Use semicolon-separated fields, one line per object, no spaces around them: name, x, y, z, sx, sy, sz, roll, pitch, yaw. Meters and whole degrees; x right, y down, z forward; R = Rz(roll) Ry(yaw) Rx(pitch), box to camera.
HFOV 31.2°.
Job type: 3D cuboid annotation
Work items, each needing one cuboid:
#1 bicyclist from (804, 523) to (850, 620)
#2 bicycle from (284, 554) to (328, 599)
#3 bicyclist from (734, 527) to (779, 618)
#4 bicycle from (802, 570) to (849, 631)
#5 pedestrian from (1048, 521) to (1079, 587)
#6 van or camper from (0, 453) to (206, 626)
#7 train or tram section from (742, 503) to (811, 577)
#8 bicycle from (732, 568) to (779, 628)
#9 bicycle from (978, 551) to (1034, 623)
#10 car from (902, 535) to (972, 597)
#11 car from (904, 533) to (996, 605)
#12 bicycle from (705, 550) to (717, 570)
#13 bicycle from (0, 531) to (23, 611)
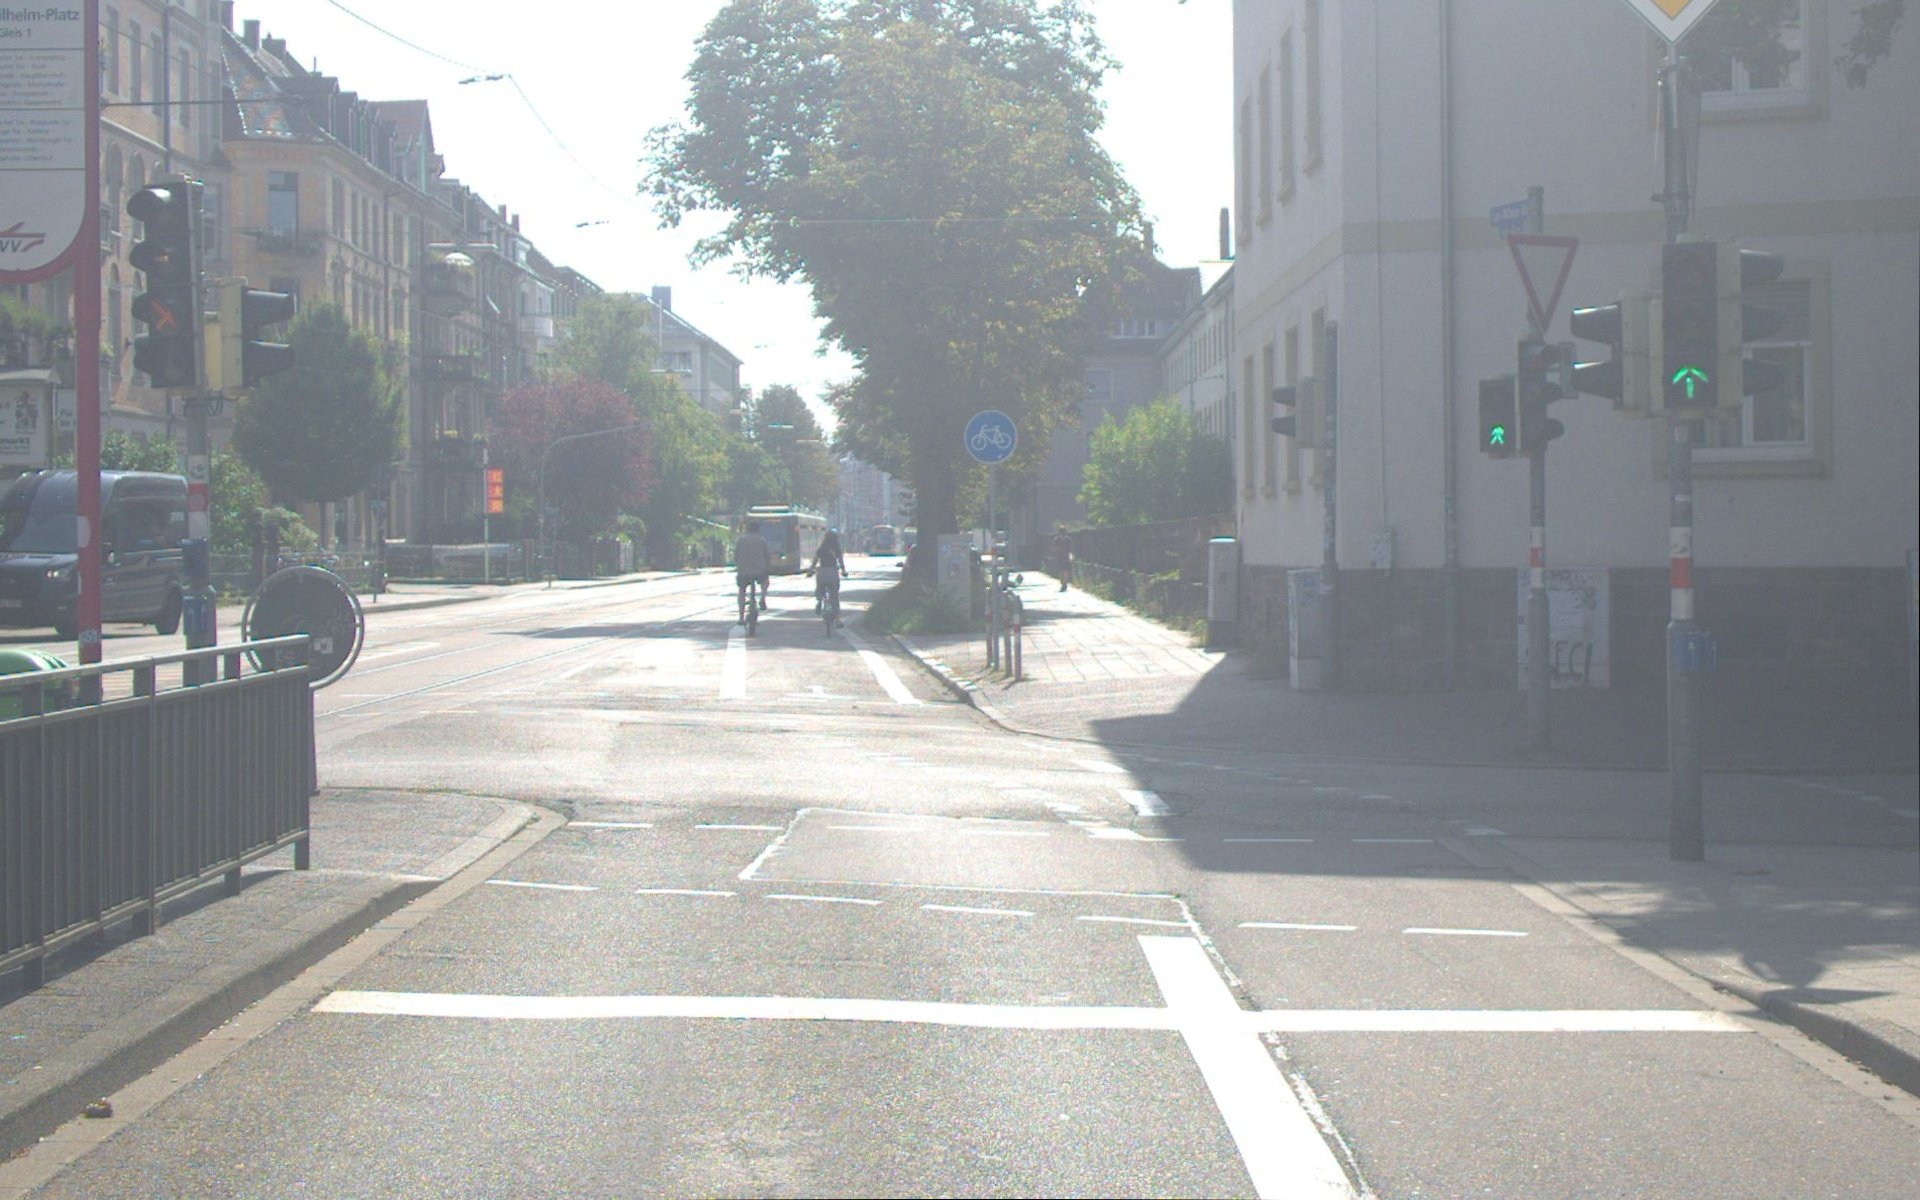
bicyclist;-2.043;-0.445;52.919;0.654;1.469;0.909;1;1;-1
bicycle;-15.936;-0.582;83.793;0.606;1.054;1.839;4;1;2
bicyclist;-3.170;-0.426;53.662;0.626;1.396;0.929;1;1;-1
bicycle;-2.063;0.002;52.940;0.654;0.906;1.775;1;1;-1
pedestrian;2.725;-1.220;90.613;0.752;1.743;0.878;0;1;7
van or camper;-14.303;-0.950;55.853;2.051;2.635;6.088;-1;0;7
train or tram section;-9.104;-2.995;171.879;2.734;3.493;15.434;0;1;0
bicycle;-3.188;-0.035;53.656;0.626;0.906;1.525;1;1;-1
bicycle;0.724;-0.223;54.897;0.771;1.100;2.334;0;1;-2
car;-0.546;-0.856;86.541;1.645;1.443;4.246;-2;1;1
car;-0.204;-0.718;78.646;1.645;1.535;3.841;-2;1;6
bicycle;-15.432;-2.463;213.107;0.561;1.217;2.113;0;1;2
bicycle;-18.676;-0.550;62.828;2.874;1.450;0.998;1;1;-6
